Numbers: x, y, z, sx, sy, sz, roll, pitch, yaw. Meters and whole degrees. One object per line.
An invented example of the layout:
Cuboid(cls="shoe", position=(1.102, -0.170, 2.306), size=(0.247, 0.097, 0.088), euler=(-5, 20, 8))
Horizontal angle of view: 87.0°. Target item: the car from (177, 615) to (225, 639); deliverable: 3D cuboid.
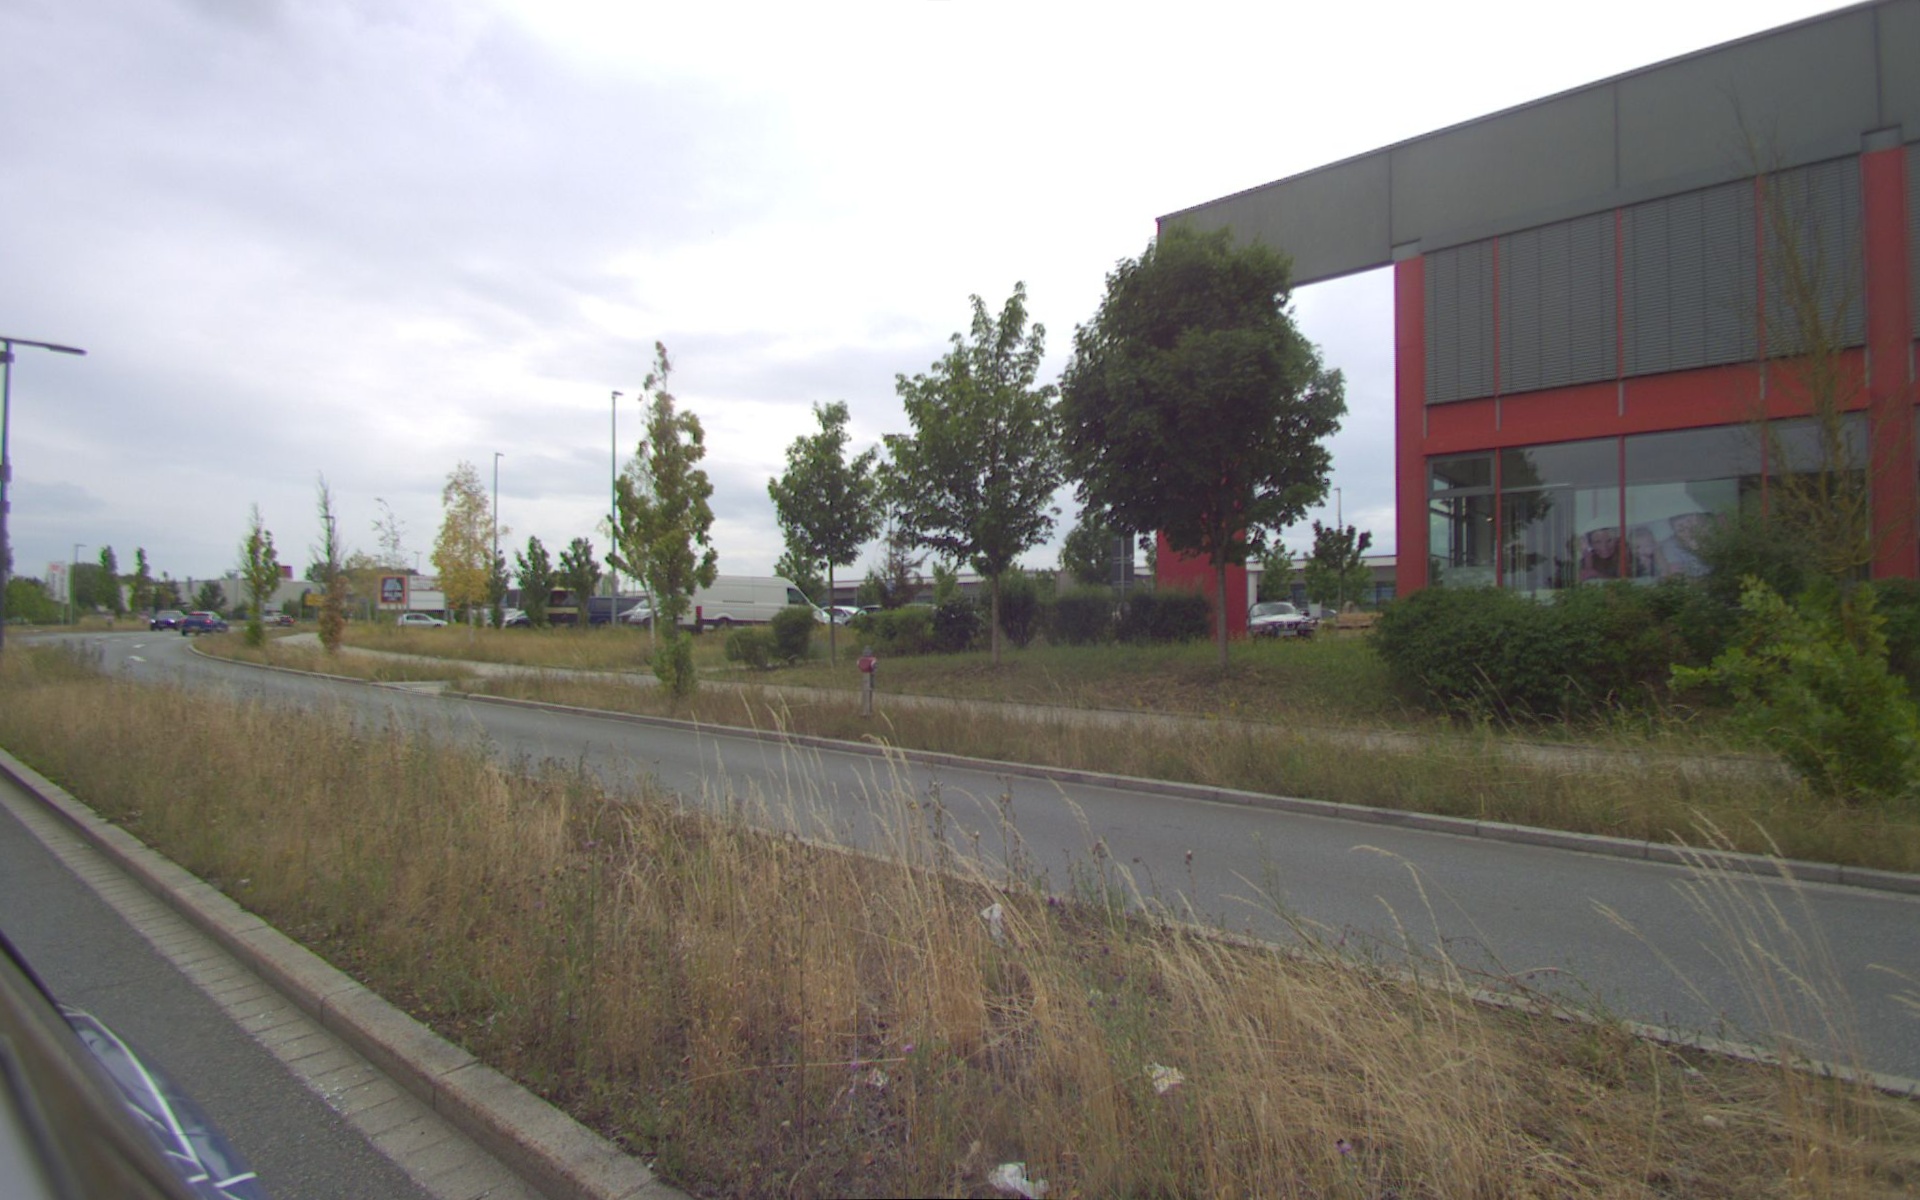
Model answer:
Cuboid(cls="car", position=(-50.479, 1.784, 67.380), size=(1.704, 1.524, 4.013), euler=(1, -2, -24))

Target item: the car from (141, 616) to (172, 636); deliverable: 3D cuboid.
Cuboid(cls="car", position=(-67.331, 2.163, 84.825), size=(1.968, 1.586, 4.008), euler=(0, 0, -38))

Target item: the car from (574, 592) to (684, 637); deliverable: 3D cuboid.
Cuboid(cls="car", position=(-17.060, 0.801, 52.340), size=(4.979, 2.240, 2.067), euler=(2, -2, -42))

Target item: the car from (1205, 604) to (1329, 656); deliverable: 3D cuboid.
Cuboid(cls="car", position=(7.982, 0.750, 26.404), size=(2.860, 1.279, 1.245), euler=(0, 0, 42))

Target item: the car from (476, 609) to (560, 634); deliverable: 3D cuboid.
Cuboid(cls="car", position=(-30.823, 1.548, 70.637), size=(4.977, 1.669, 2.068), euler=(2, -2, -39))

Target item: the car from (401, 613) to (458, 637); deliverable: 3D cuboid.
Cuboid(cls="car", position=(-41.562, 1.953, 79.341), size=(3.931, 1.683, 2.006), euler=(-1, -1, -28))

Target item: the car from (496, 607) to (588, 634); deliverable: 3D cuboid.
Cuboid(cls="car", position=(-26.588, 1.346, 64.442), size=(4.977, 1.669, 2.068), euler=(2, -2, -39))

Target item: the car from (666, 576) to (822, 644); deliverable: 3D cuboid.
Cuboid(cls="car", position=(-8.951, 0.373, 42.434), size=(2.065, 2.644, 6.326), euler=(0, 0, 44))

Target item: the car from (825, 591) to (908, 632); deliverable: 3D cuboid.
Cuboid(cls="car", position=(-5.650, 0.680, 60.806), size=(5.055, 2.391, 2.036), euler=(0, 0, 41))

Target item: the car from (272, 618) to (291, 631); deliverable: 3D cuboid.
Cuboid(cls="car", position=(-81.881, 2.980, 122.064), size=(1.706, 1.504, 4.009), euler=(2, -2, -37))

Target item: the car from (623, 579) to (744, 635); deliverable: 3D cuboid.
Cuboid(cls="car", position=(-12.436, 0.306, 45.744), size=(2.064, 2.391, 4.988), euler=(0, 0, 41))

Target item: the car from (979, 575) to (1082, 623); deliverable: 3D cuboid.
Cuboid(cls="car", position=(3.599, -0.057, 52.351), size=(5.049, 2.391, 2.039), euler=(0, 0, 37))
